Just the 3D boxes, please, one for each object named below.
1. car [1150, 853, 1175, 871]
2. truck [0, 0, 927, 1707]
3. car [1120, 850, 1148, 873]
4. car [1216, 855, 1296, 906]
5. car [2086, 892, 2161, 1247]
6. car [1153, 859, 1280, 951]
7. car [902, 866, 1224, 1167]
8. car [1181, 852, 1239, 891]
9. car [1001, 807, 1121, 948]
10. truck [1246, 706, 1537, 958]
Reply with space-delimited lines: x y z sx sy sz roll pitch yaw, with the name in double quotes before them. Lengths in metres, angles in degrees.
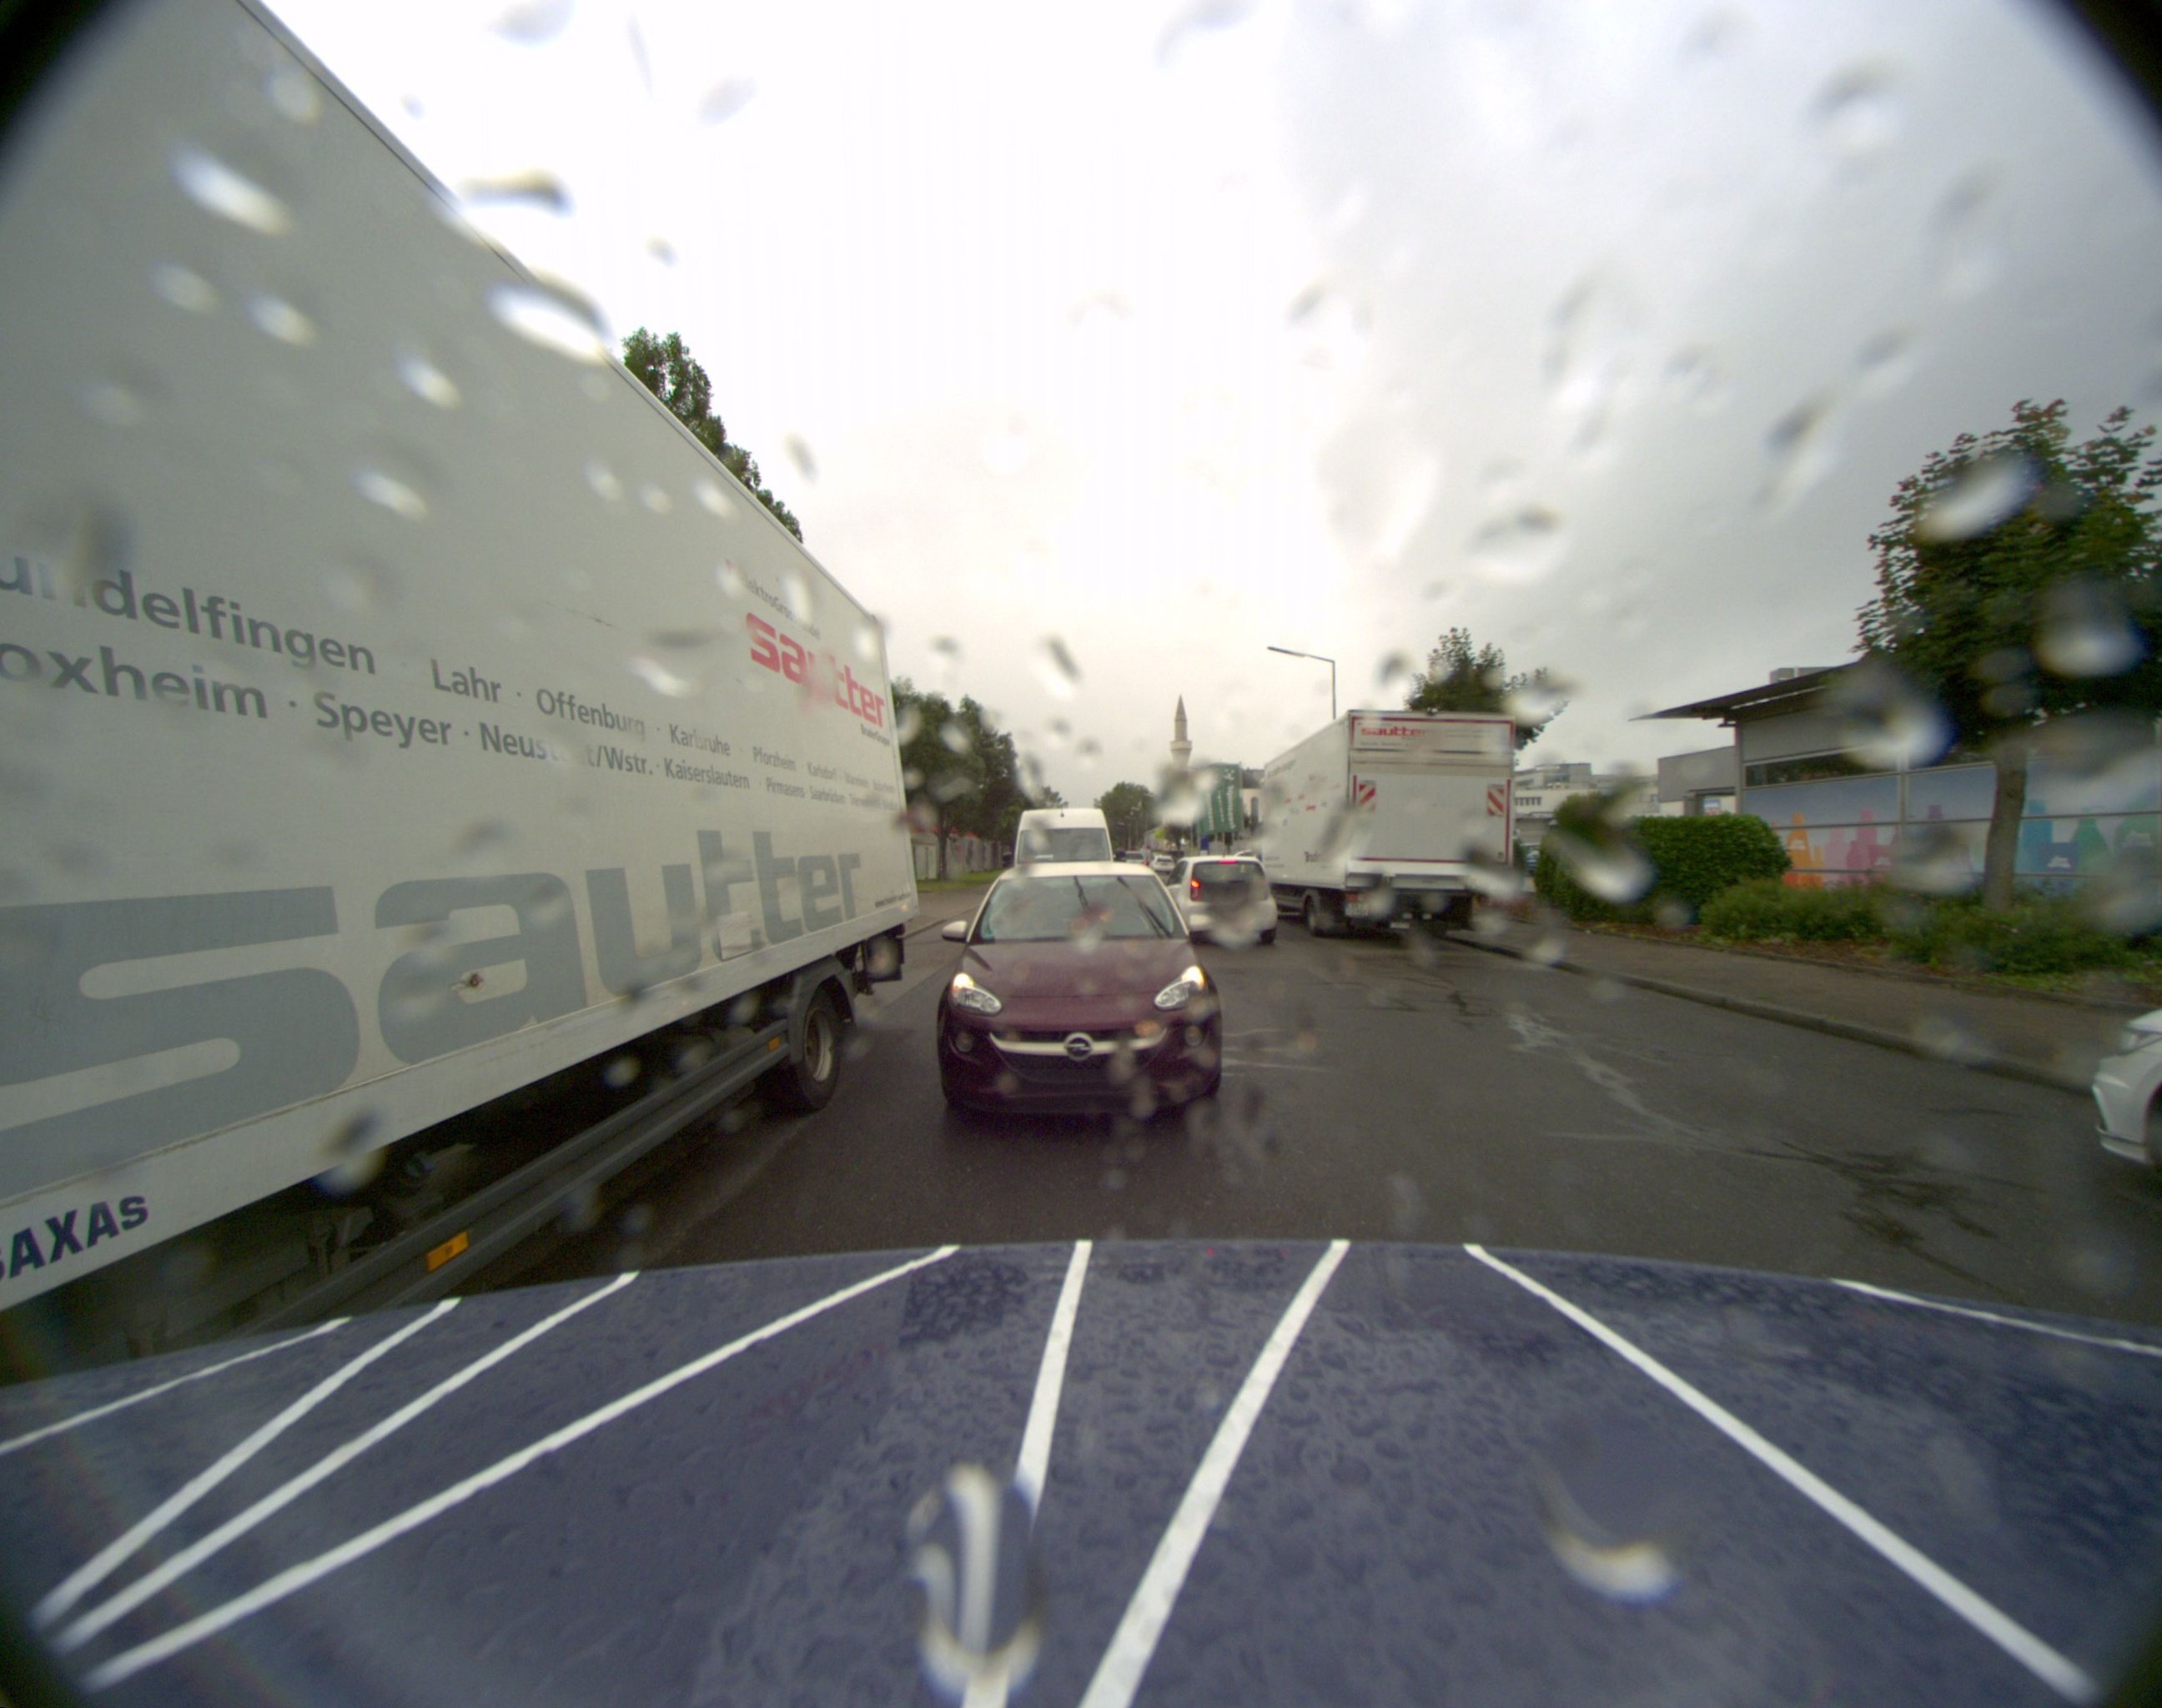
"car" 6.515 0.640 61.159 1.579 1.333 3.610 -1 0 0
"truck" -2.990 -0.006 3.055 2.678 3.670 8.009 -4 0 1
"car" 3.708 0.509 53.719 1.691 1.588 3.610 -1 0 0
"car" 5.475 0.771 24.120 1.691 1.457 3.513 -1 0 0
"car" 5.243 0.895 1.039 1.840 1.426 4.492 0 0 2
"car" 2.319 0.819 13.774 1.615 1.430 3.407 0 0 -1
"car" -0.077 0.891 5.805 1.637 1.446 3.577 -3 0 1
"car" 5.166 0.679 30.801 1.691 1.457 3.513 -1 0 0
"car" -0.396 0.411 16.228 2.085 2.466 5.346 -1 0 -1
"truck" 5.503 -0.330 15.320 2.888 3.724 7.868 -1 0 2
